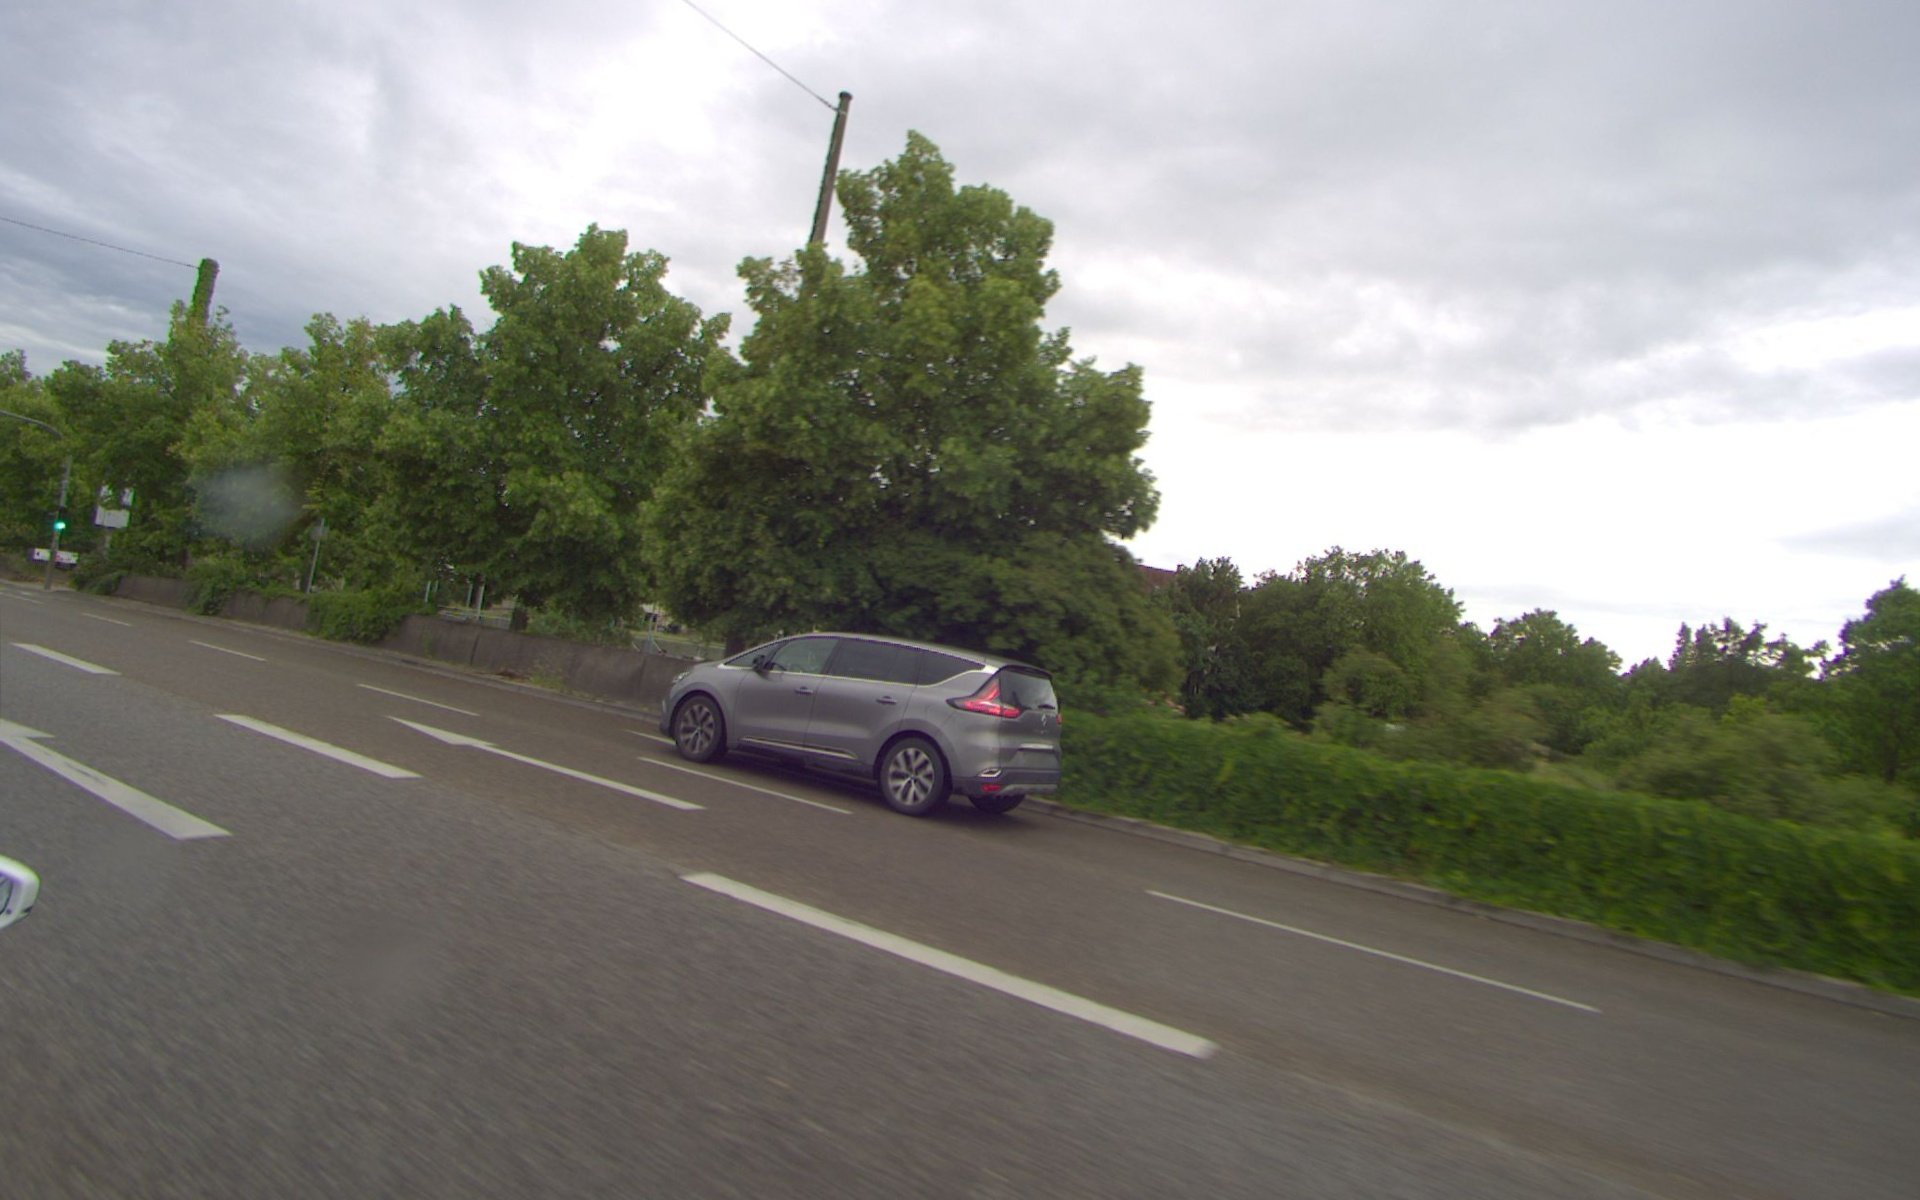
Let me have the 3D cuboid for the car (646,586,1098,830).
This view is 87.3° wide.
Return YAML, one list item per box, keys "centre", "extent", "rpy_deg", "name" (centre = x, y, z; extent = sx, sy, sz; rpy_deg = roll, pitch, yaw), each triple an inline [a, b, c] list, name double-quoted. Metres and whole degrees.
- centre: [-1.051, 1.075, 10.879]
  extent: [4.549, 1.665, 1.731]
  rpy_deg: [8, -4, 33]
  name: "car"
